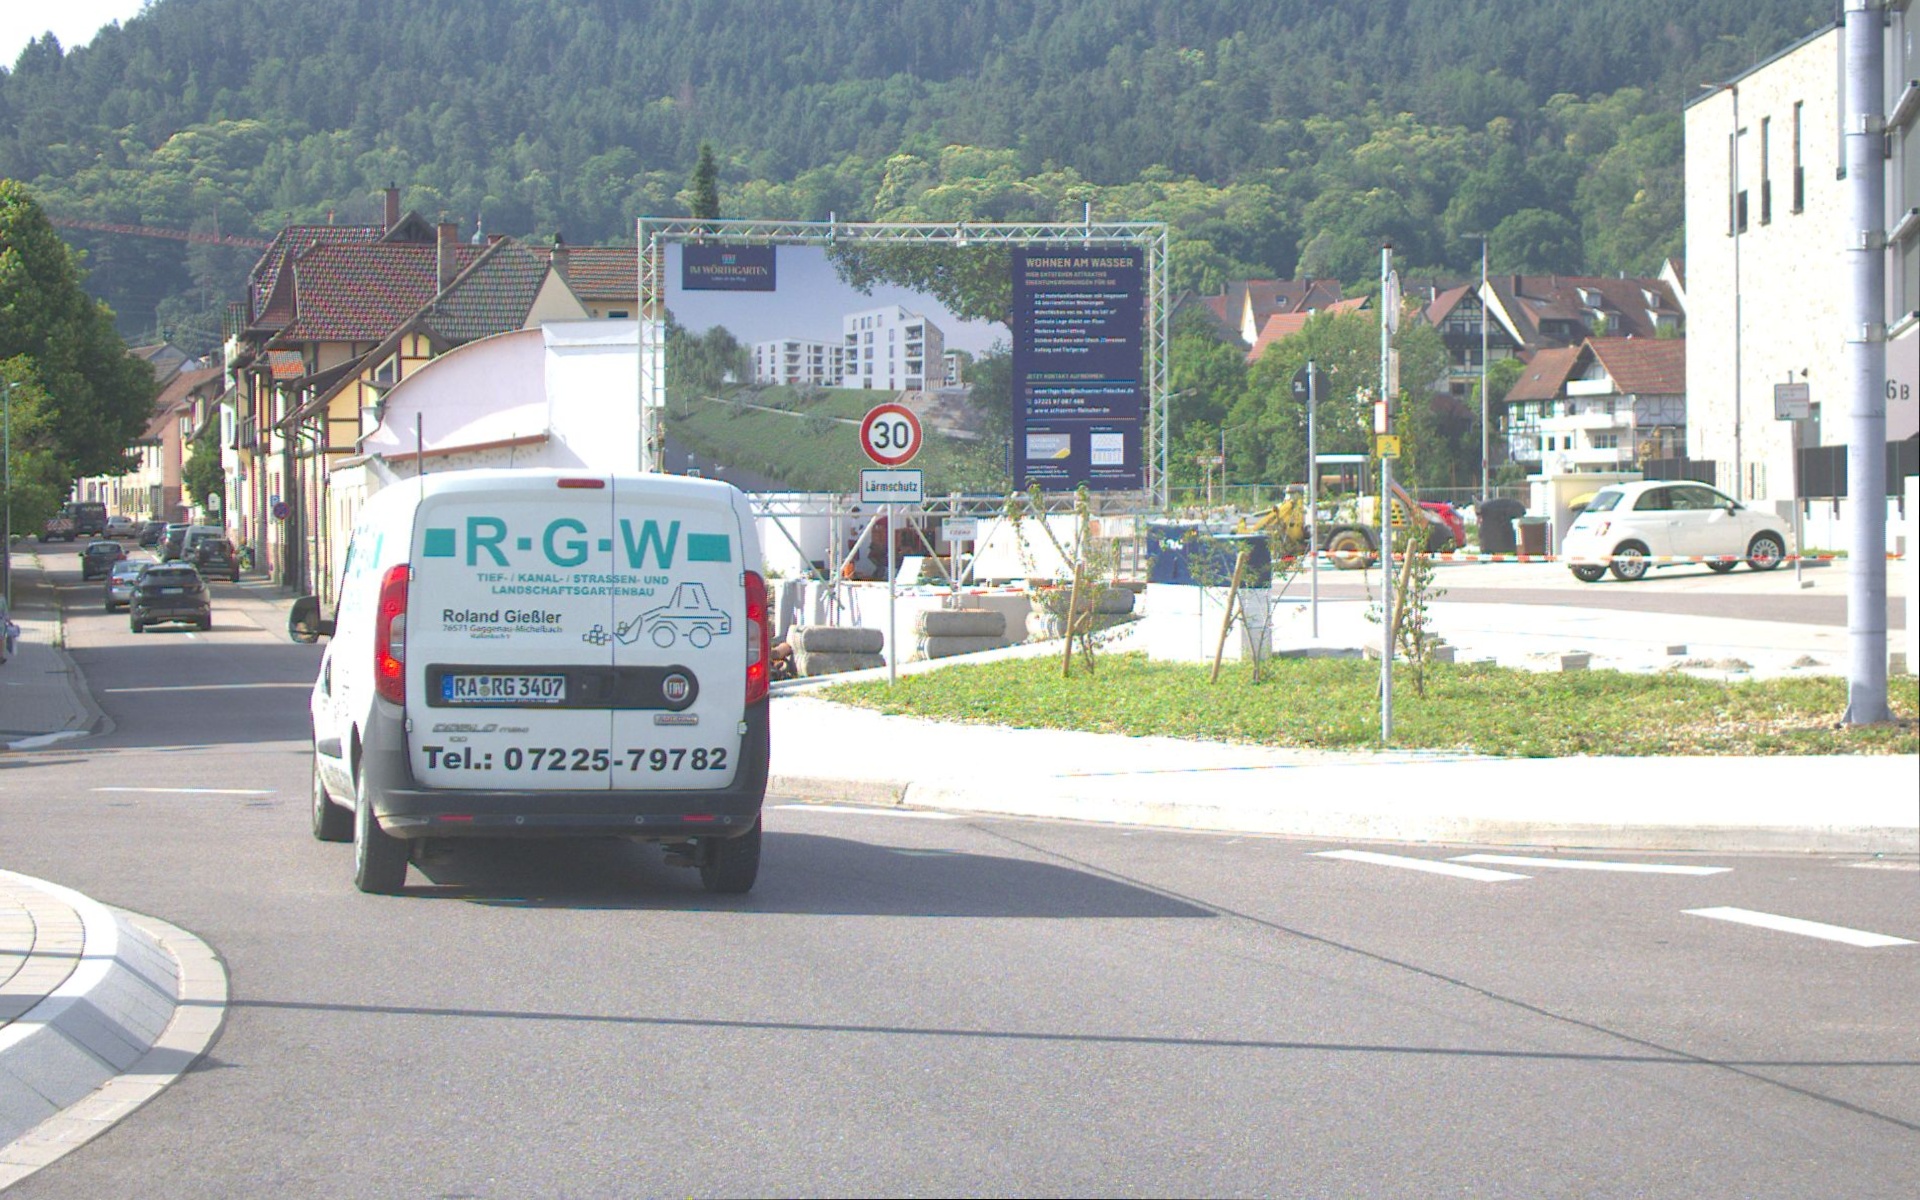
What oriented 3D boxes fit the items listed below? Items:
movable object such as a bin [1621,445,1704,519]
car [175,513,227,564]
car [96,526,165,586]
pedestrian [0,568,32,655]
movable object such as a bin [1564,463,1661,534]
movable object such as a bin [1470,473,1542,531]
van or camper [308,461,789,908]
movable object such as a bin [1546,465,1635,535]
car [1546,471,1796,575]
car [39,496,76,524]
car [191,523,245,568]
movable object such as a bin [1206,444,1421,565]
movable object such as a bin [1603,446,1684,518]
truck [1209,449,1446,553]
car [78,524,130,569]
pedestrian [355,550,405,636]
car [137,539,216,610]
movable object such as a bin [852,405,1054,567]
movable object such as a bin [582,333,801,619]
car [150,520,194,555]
[{"bbox_3d":[14.506,-2.433,71.036,1.299,1.459,1.320,2,2,-4],"label":"movable object such as a bin"},{"bbox_3d":[-31.194,-2.542,141.258,1.870,2.006,4.002,0,2,-15],"label":"car"},{"bbox_3d":[-23.844,-1.274,98.942,1.810,1.591,3.928,2,2,-13],"label":"car"},{"bbox_3d":[-18.066,0.216,65.071,0.957,1.625,0.758,0,1,-15],"label":"pedestrian"},{"bbox_3d":[14.024,-2.189,73.935,1.693,1.459,1.320,2,2,-4],"label":"movable object such as a bin"},{"bbox_3d":[12.373,-2.222,77.934,1.296,1.263,1.320,2,2,-4],"label":"movable object such as a bin"},{"bbox_3d":[-2.089,0.311,16.372,1.827,1.838,4.190,0,1,-13],"label":"van or camper"},{"bbox_3d":[13.876,-2.202,75.680,1.580,1.459,1.320,2,2,-4],"label":"movable object such as a bin"},{"bbox_3d":[11.025,-1.187,53.352,3.404,1.490,1.595,-2,0,-15],"label":"car"},{"bbox_3d":[-54.828,-5.464,208.880,1.810,1.591,3.928,1,2,-19],"label":"car"},{"bbox_3d":[-28.420,-2.112,131.633,1.810,1.591,3.928,2,2,-14],"label":"car"},{"bbox_3d":[8.039,-2.151,78.055,4.614,2.560,1.924,-2,1,11],"label":"movable object such as a bin"},{"bbox_3d":[14.389,-2.483,72.418,1.299,1.459,1.320,2,2,-4],"label":"movable object such as a bin"},{"bbox_3d":[8.714,-2.329,81.281,5.317,2.258,2.218,-2,1,12],"label":"truck"},{"bbox_3d":[-32.969,-2.079,132.429,1.810,1.591,3.928,2,2,-13],"label":"car"},{"bbox_3d":[-11.509,-0.139,68.183,0.888,1.677,0.719,1,0,-14],"label":"pedestrian"},{"bbox_3d":[-19.274,-0.639,84.643,1.810,1.591,3.928,2,2,-13],"label":"car"},{"bbox_3d":[-0.097,-2.668,81.448,2.853,3.609,5.730,3,2,20],"label":"movable object such as a bin"},{"bbox_3d":[-4.096,-1.758,50.884,2.294,3.841,7.801,2,1,-11],"label":"movable object such as a bin"},{"bbox_3d":[-36.021,-2.876,157.082,1.669,1.503,4.001,-2,2,-16],"label":"car"}]
